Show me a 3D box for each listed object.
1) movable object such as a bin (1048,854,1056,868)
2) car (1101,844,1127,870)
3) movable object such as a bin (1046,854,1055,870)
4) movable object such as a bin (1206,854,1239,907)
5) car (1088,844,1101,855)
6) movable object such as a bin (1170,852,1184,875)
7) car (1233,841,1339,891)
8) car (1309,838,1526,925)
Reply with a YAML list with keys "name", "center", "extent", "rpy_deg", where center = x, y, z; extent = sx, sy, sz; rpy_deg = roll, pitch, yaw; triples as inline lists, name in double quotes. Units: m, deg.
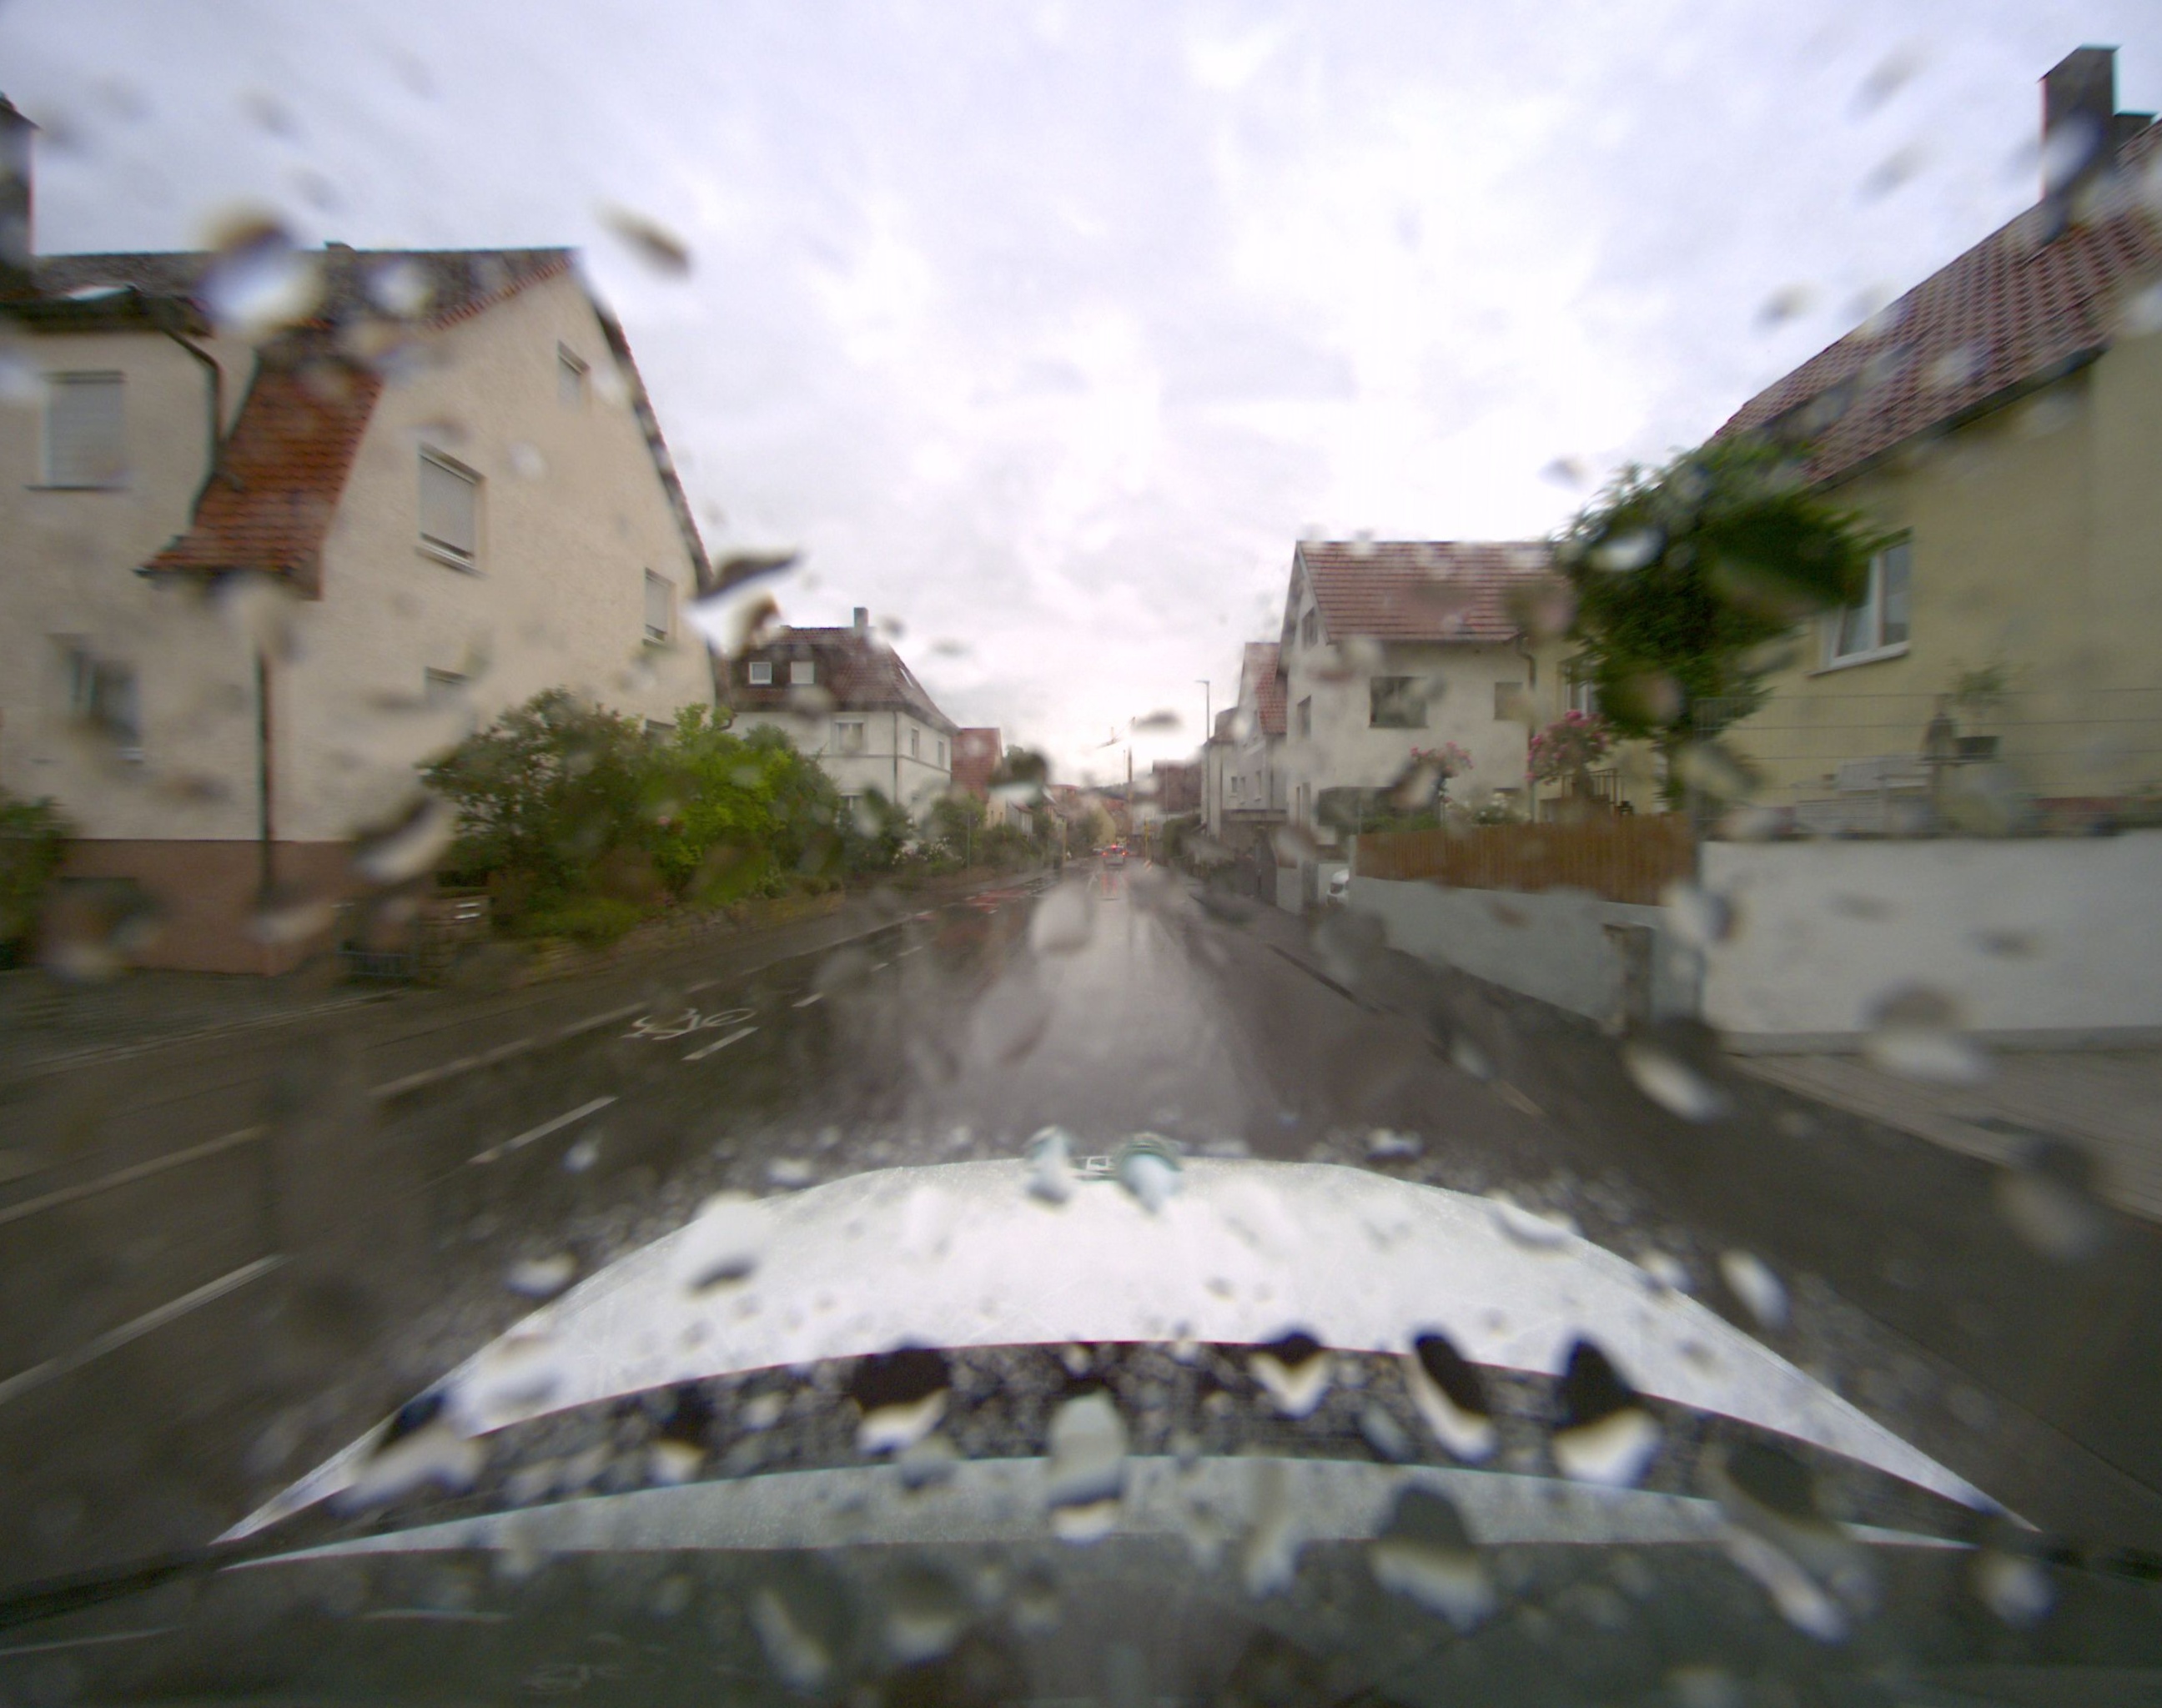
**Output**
- name: "movable object such as a bin"
  center: [-2.505, 0.616, 70.715]
  extent: [0.681, 1.222, 0.639]
  rpy_deg: [1, 3, -3]
- name: "car"
  center: [2.793, 0.207, 68.428]
  extent: [2.108, 1.887, 4.507]
  rpy_deg: [2, 3, 3]
- name: "movable object such as a bin"
  center: [-2.616, 0.704, 69.988]
  extent: [0.681, 1.322, 0.639]
  rpy_deg: [1, 3, -3]
- name: "movable object such as a bin"
  center: [3.642, 0.675, 21.029]
  extent: [0.742, 1.278, 0.883]
  rpy_deg: [0, 3, 2]
- name: "car"
  center: [2.352, -0.796, 144.513]
  extent: [1.832, 1.578, 4.299]
  rpy_deg: [2, 3, 7]
- name: "movable object such as a bin"
  center: [5.676, 0.557, 48.088]
  extent: [0.781, 1.277, 0.715]
  rpy_deg: [2, 3, 6]
- name: "car"
  center: [7.216, 0.402, 28.887]
  extent: [3.361, 1.562, 1.516]
  rpy_deg: [1, 3, 1]
- name: "car"
  center: [6.370, 0.491, 15.692]
  extent: [3.481, 1.522, 1.740]
  rpy_deg: [-1, 1, 1]
